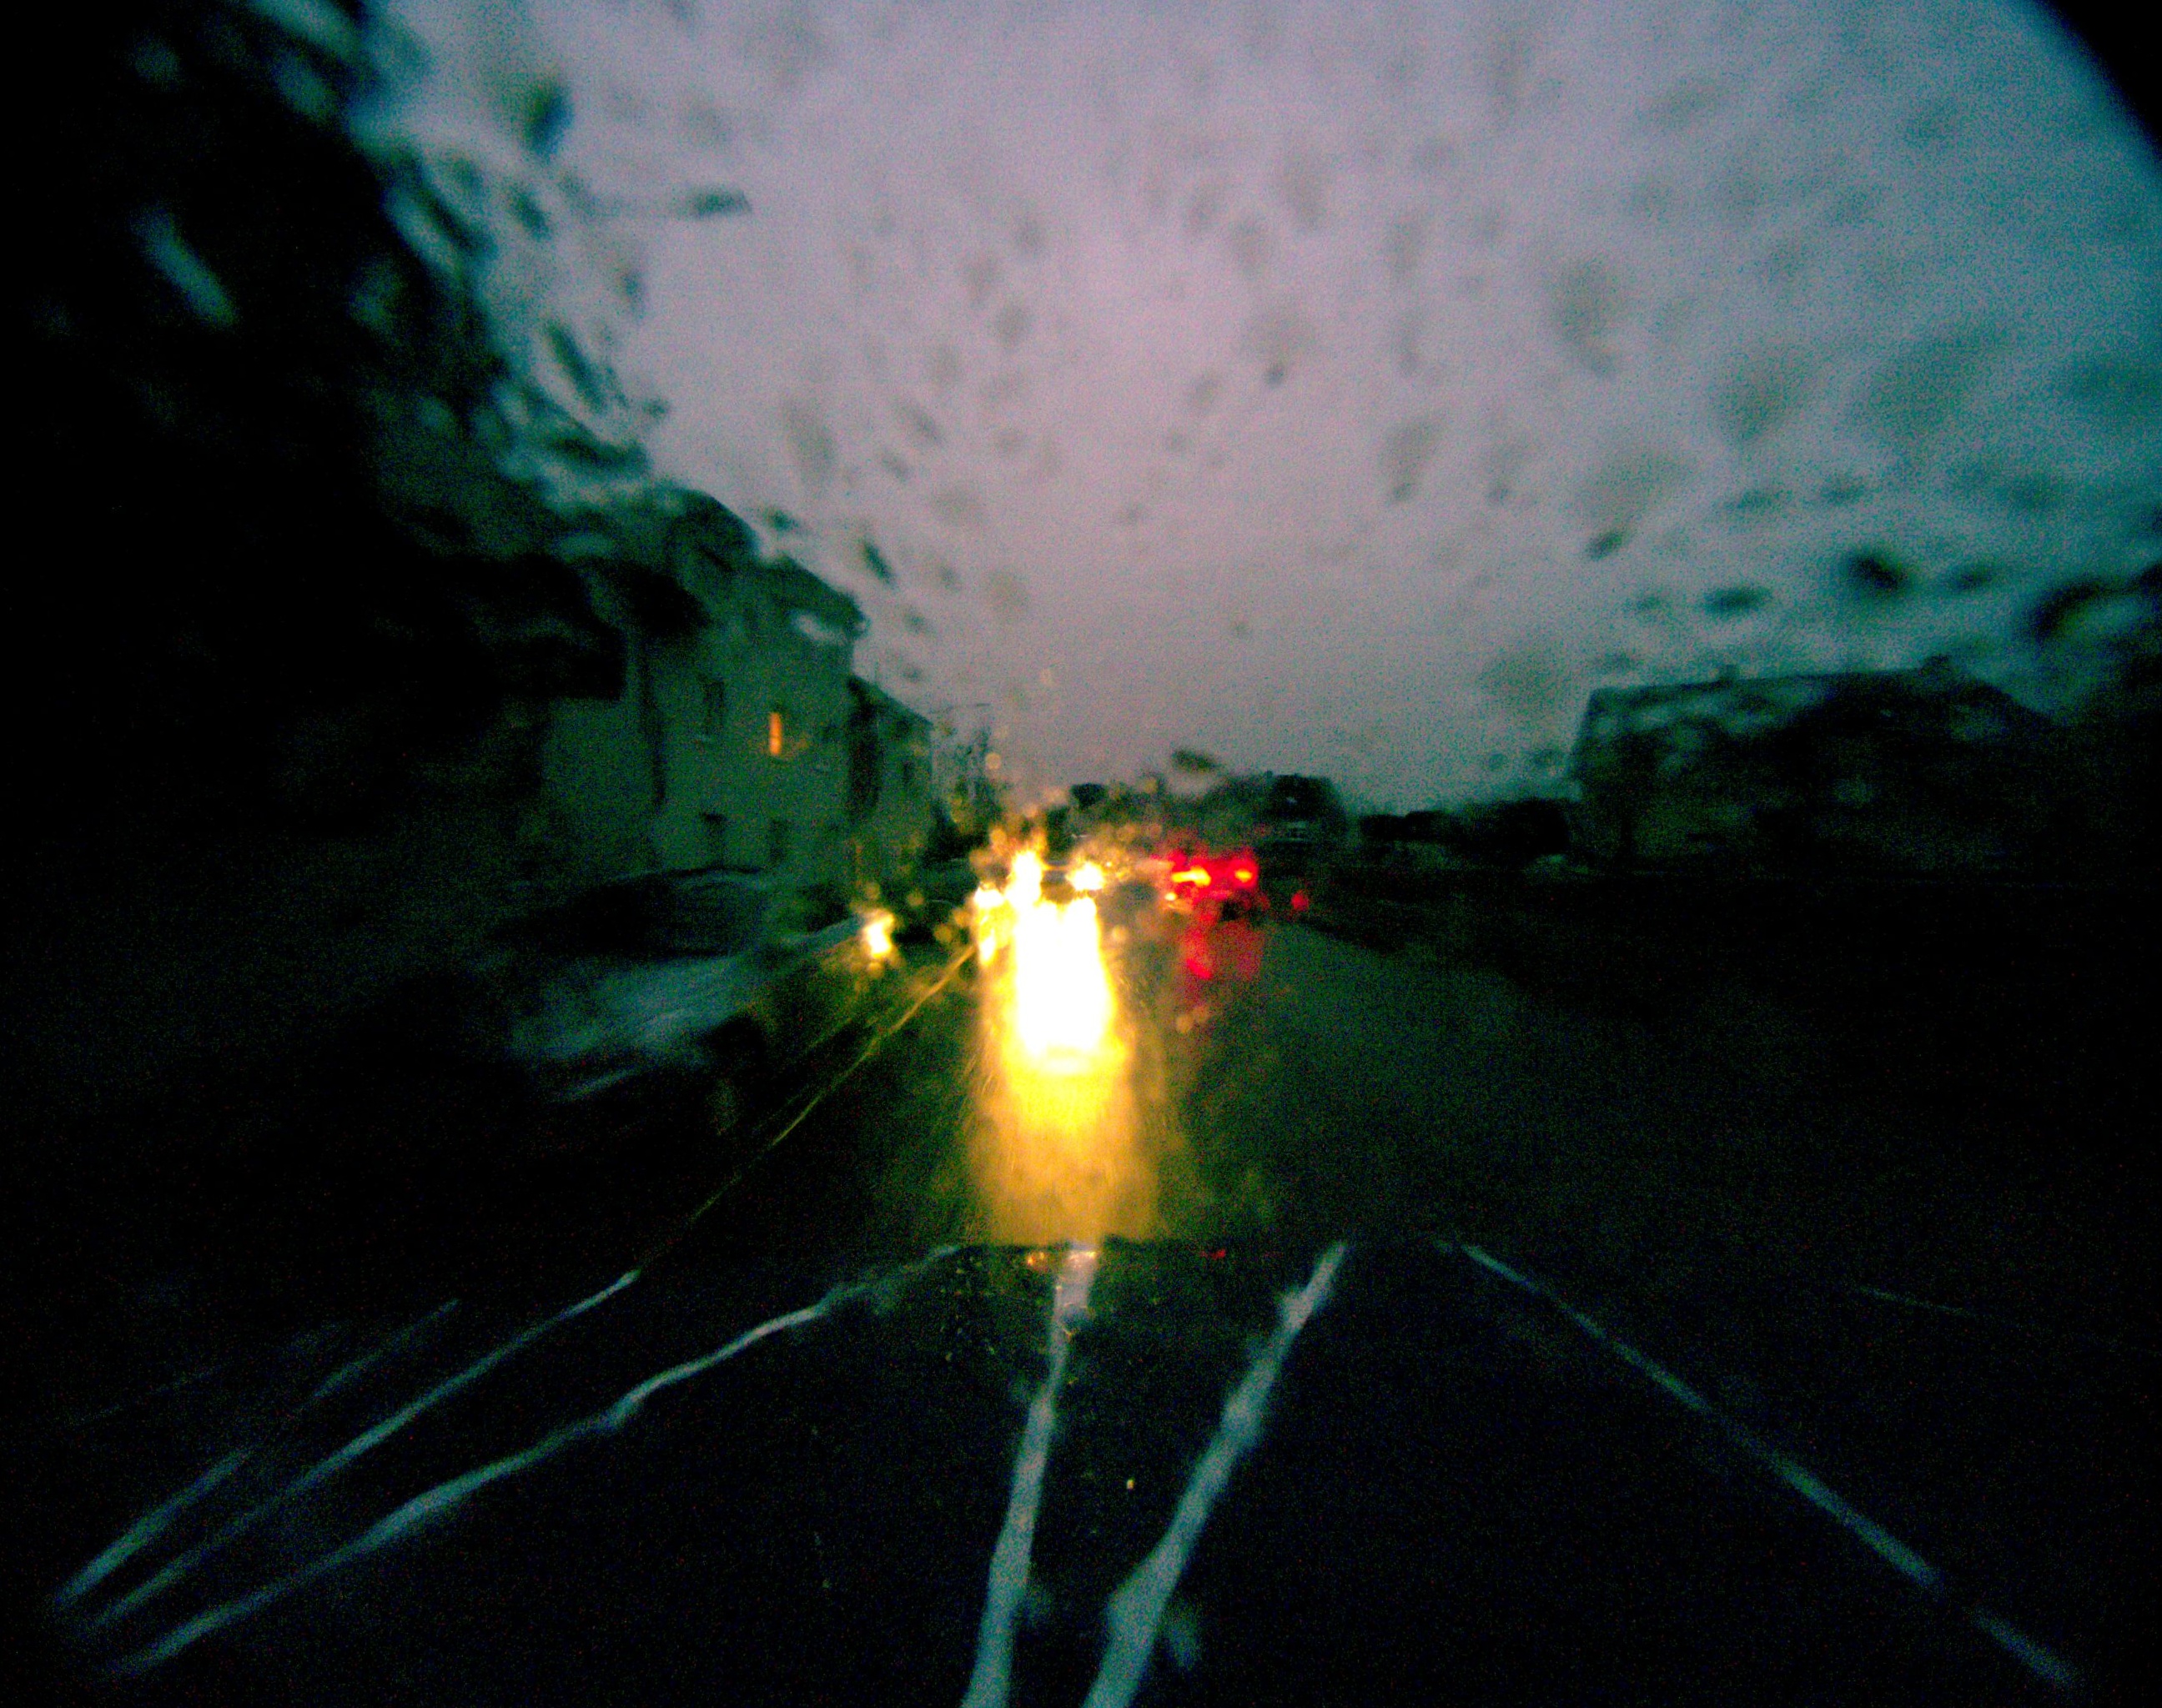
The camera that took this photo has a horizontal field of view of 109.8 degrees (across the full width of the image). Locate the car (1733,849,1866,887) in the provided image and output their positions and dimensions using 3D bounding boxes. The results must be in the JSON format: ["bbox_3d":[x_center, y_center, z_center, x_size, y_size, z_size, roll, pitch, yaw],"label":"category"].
[{"bbox_3d":[33.073,0.640,35.121,4.032,1.515,1.816,-3,0,19],"label":"car"}]

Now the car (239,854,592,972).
[{"bbox_3d":[-10.160,0.841,11.796,4.016,1.592,1.805,1,0,4],"label":"car"}]

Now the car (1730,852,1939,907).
[{"bbox_3d":[22.388,0.689,22.909,1.881,1.434,4.649,-1,0,4],"label":"car"}]

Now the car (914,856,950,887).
[{"bbox_3d":[-8.142,0.918,41.473,1.814,1.543,4.300,0,0,-12],"label":"car"}]

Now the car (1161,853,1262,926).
[{"bbox_3d":[3.047,0.774,18.468,1.736,1.527,3.780,-3,0,0],"label":"car"}]

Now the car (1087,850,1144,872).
[{"bbox_3d":[2.910,0.605,64.689,4.348,1.611,1.998,-3,1,-13],"label":"car"}]

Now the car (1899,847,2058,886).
[{"bbox_3d":[38.845,0.543,33.014,3.992,1.535,2.002,-2,0,19],"label":"car"}]

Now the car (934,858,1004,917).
[{"bbox_3d":[-3.305,0.928,23.130,1.669,1.566,4.495,0,0,-3],"label":"car"}]

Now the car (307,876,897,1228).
[{"bbox_3d":[-2.703,0.970,5.593,1.656,1.446,4.237,2,0,-1],"label":"car"}]

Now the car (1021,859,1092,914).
[{"bbox_3d":[-0.871,0.995,24.277,1.999,1.525,3.999,-2,-1,-5],"label":"car"}]

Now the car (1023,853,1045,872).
[{"bbox_3d":[-4.267,0.784,69.148,1.906,1.630,4.565,1,0,-3],"label":"car"}]

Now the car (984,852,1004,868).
[{"bbox_3d":[-9.914,0.635,86.151,1.917,1.780,4.562,0,0,-11],"label":"car"}]

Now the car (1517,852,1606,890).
[{"bbox_3d":[23.042,0.793,36.620,1.821,1.615,3.985,-3,0,2],"label":"car"}]

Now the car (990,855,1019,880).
[{"bbox_3d":[-5.112,0.882,51.128,1.812,1.555,4.303,0,0,-4],"label":"car"}]

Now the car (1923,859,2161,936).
[{"bbox_3d":[22.464,0.893,17.385,1.881,1.496,4.144,-1,0,3],"label":"car"}]

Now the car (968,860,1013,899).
[{"bbox_3d":[-3.675,0.998,31.312,1.708,1.443,4.190,0,0,-5],"label":"car"}]

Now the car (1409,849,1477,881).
[{"bbox_3d":[23.277,0.691,49.088,1.999,1.893,4.356,-3,0,-4],"label":"car"}]

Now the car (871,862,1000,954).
[{"bbox_3d":[-2.896,1.009,16.278,1.962,1.523,5.007,-3,0,-3],"label":"car"}]

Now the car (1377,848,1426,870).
[{"bbox_3d":[22.929,0.305,54.517,1.681,1.406,3.832,-3,1,-3],"label":"car"}]

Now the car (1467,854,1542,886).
[{"bbox_3d":[22.974,0.829,41.399,1.901,1.509,4.000,-3,1,2],"label":"car"}]
